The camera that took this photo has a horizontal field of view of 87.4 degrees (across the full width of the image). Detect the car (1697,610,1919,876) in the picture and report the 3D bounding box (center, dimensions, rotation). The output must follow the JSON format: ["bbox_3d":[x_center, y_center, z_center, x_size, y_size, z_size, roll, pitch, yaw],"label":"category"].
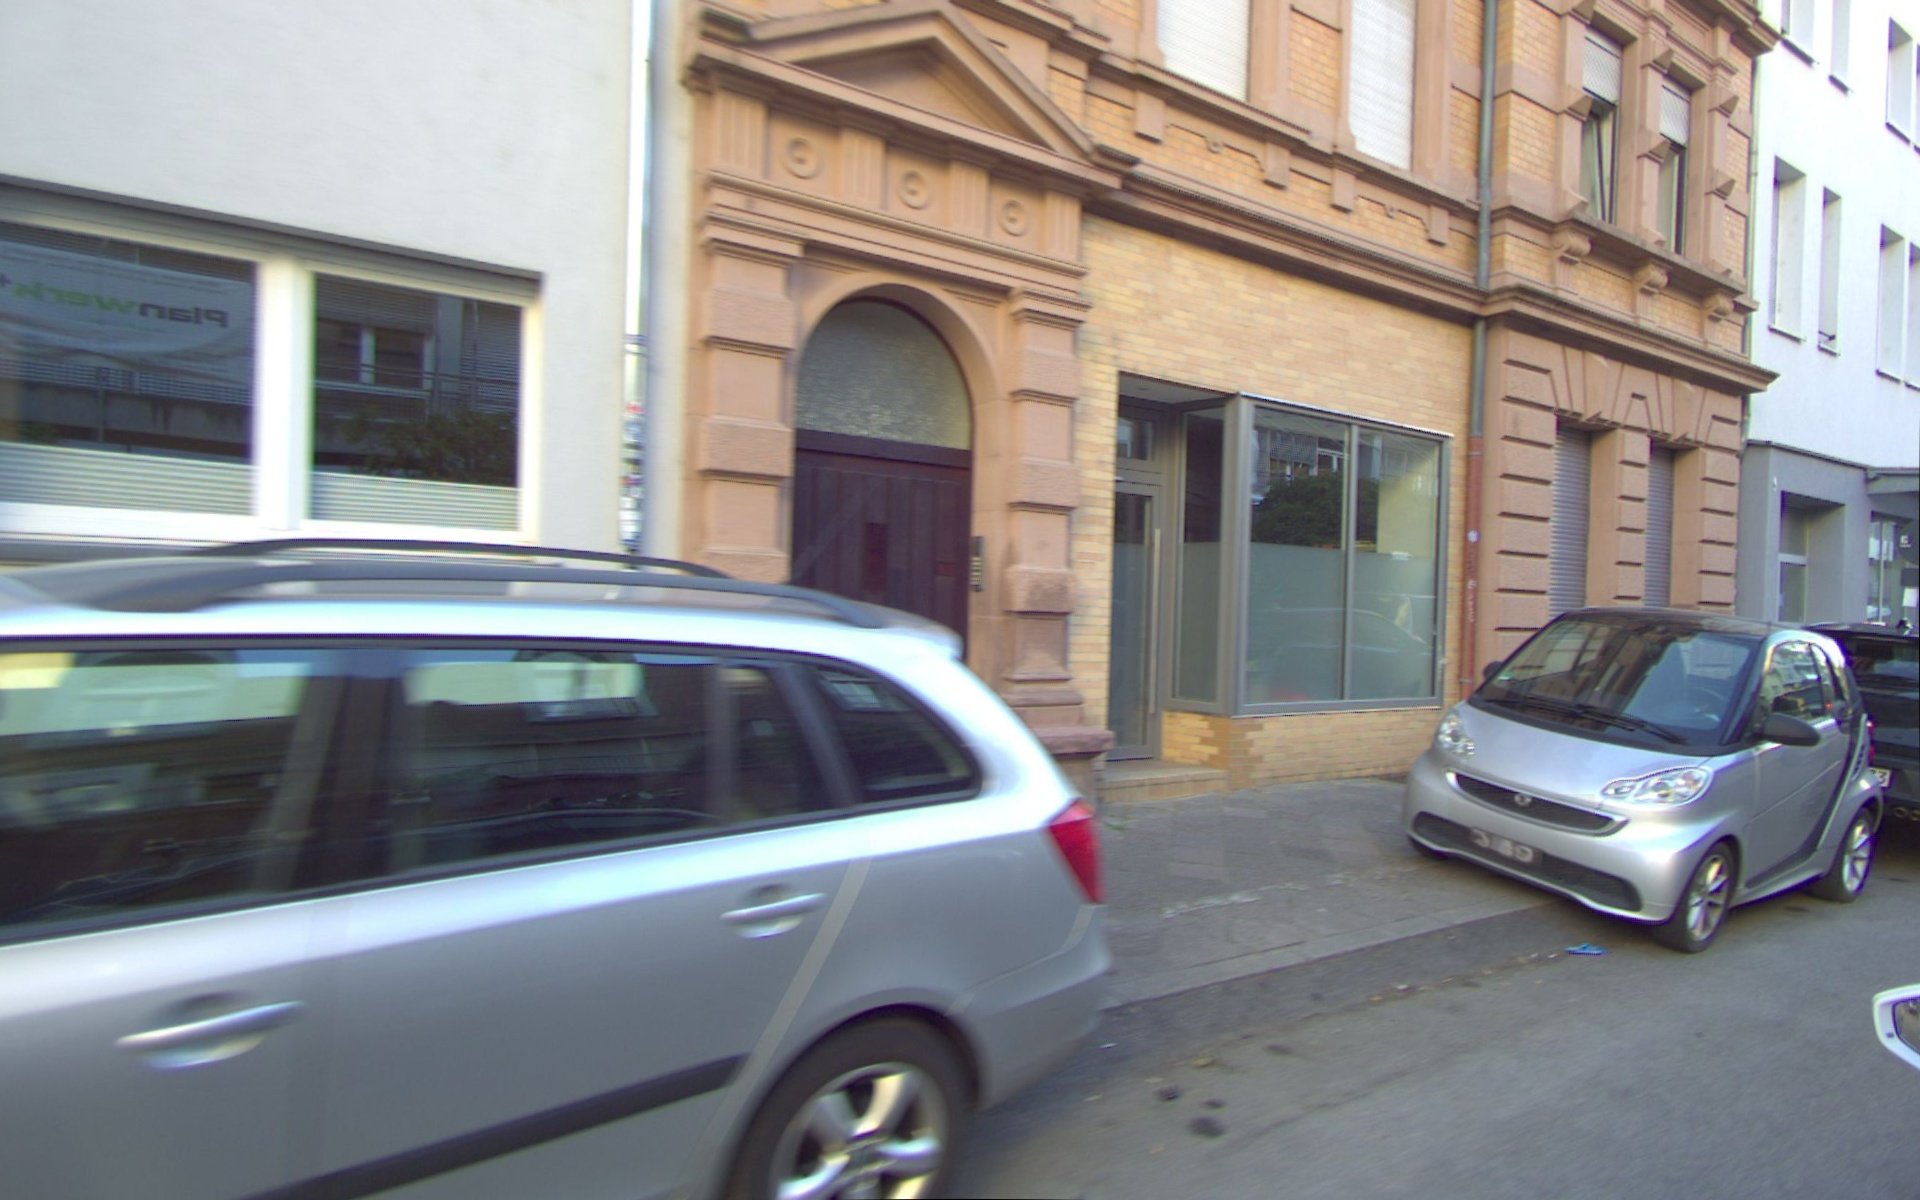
[{"bbox_3d":[7.491,0.953,7.613,3.971,1.621,1.730,2,0,-33],"label":"car"}]

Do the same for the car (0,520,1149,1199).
[{"bbox_3d":[-1.483,0.630,2.136,3.558,1.529,1.546,2,2,-33],"label":"car"}]

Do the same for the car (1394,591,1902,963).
[{"bbox_3d":[3.960,0.807,5.728,2.763,1.609,1.388,2,0,-32],"label":"car"}]
